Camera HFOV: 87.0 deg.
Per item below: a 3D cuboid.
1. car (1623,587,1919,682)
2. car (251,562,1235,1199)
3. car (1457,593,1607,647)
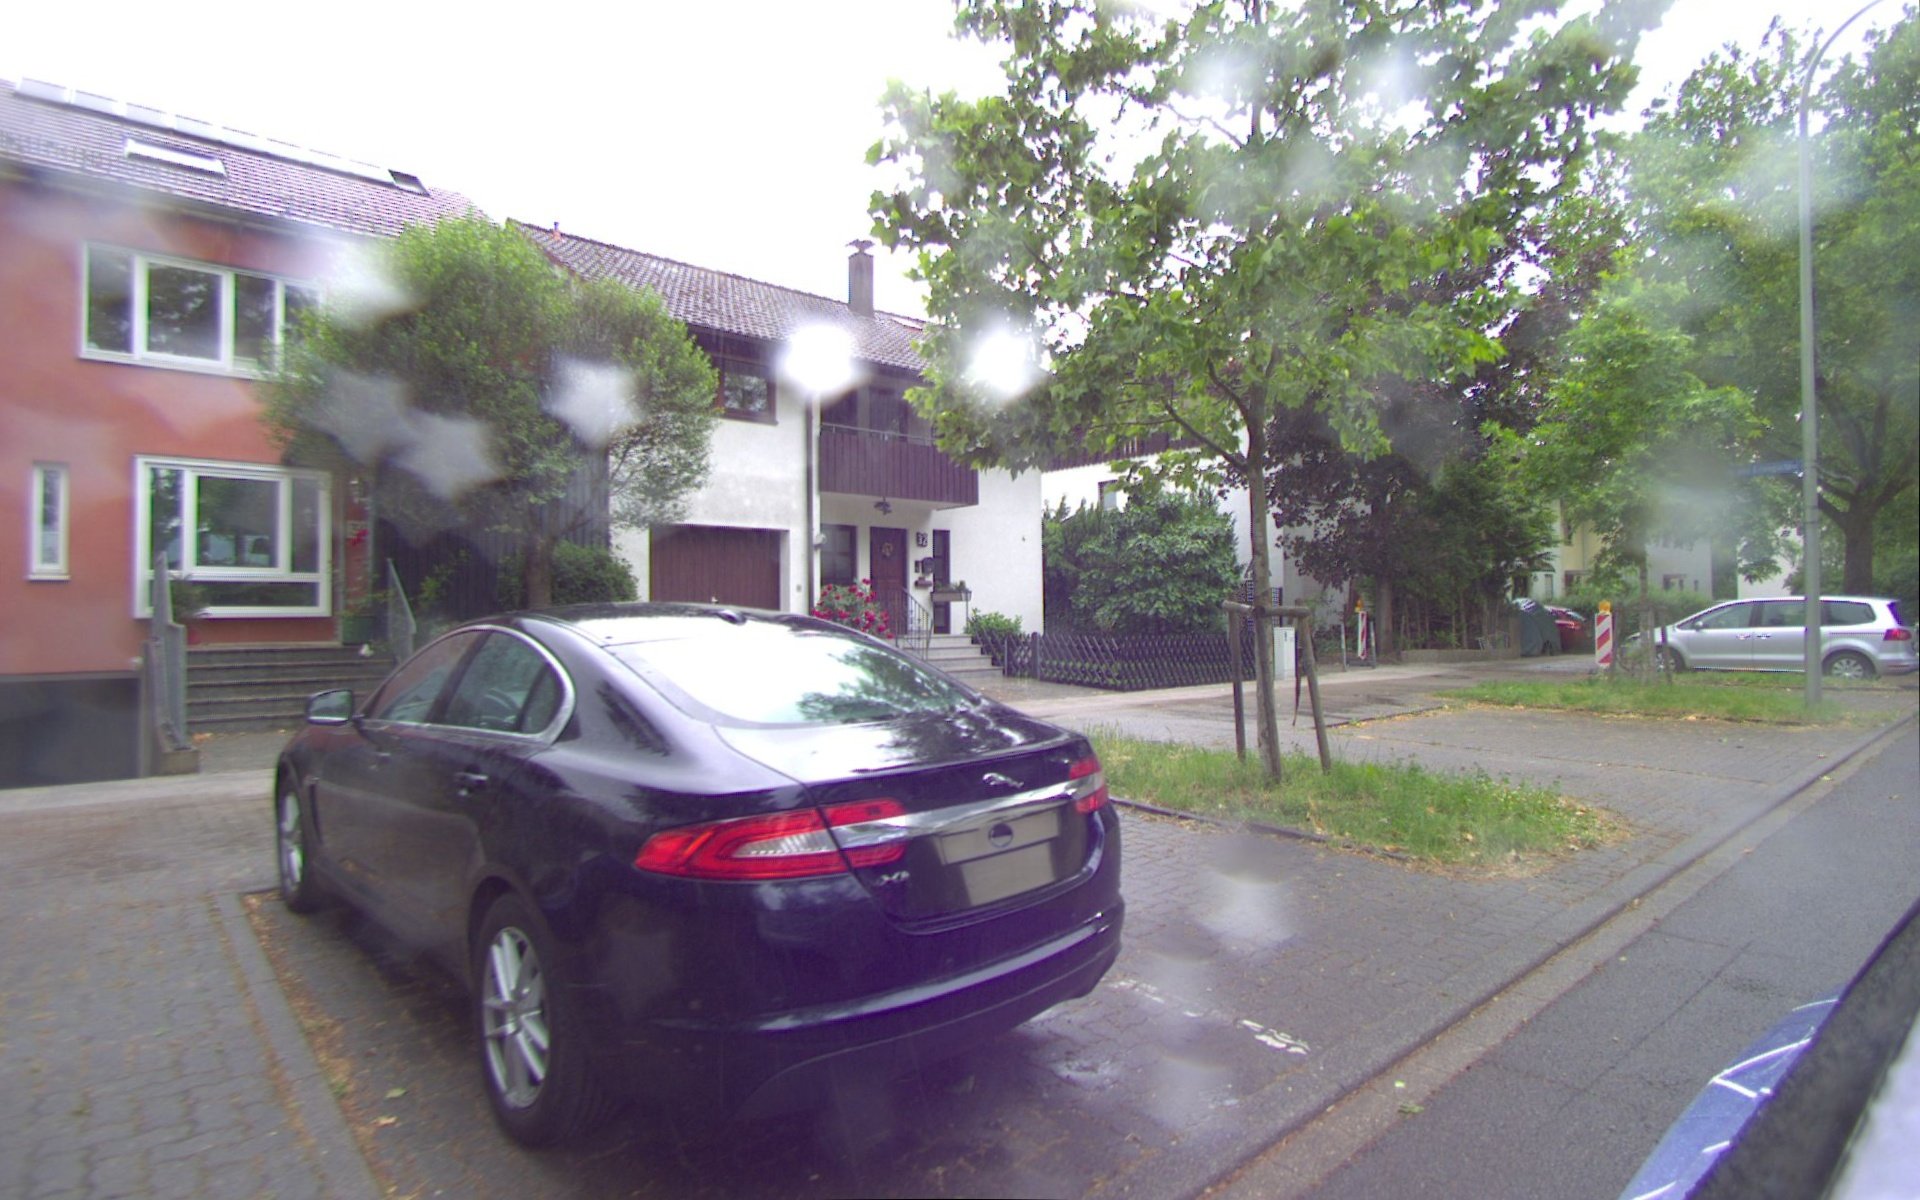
[{"bbox_3d":[16.224,0.620,20.182,1.942,1.682,4.694,1,-1,-42],"label":"car"},{"bbox_3d":[-1.436,0.676,4.322,1.905,1.492,4.769,1,0,-44],"label":"car"},{"bbox_3d":[18.397,0.624,32.671,1.809,1.633,3.853,1,-1,-38],"label":"car"}]
